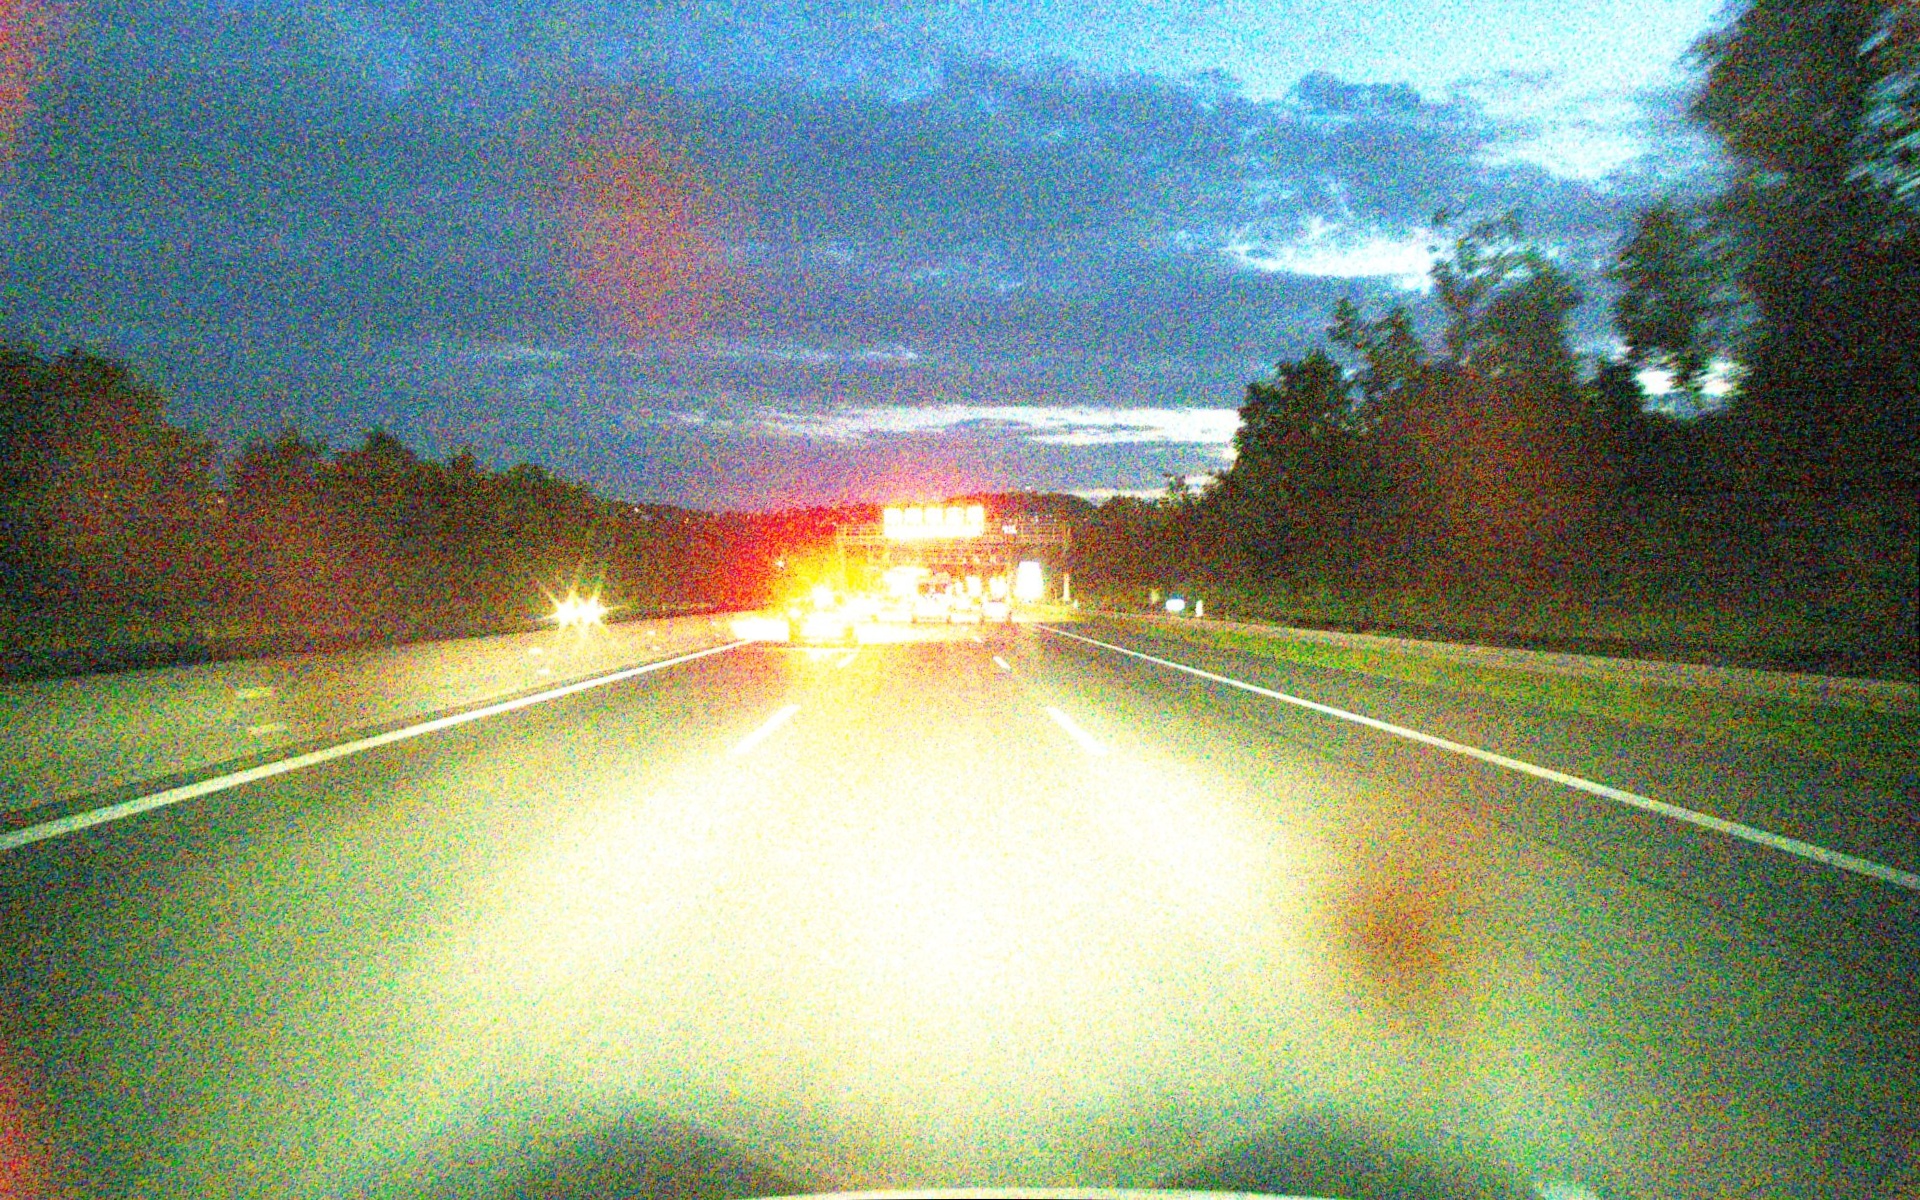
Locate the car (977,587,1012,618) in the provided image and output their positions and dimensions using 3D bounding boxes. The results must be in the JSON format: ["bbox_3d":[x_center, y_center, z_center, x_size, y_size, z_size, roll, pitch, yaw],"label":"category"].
[{"bbox_3d":[1.854,0.141,89.087,1.613,1.624,4.508,1,0,-2],"label":"car"}]

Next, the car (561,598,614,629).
[{"bbox_3d":[-21.051,0.770,93.624,1.865,1.663,5.044,2,-1,-1],"label":"car"}]

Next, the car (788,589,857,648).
[{"bbox_3d":[-3.696,0.455,44.541,1.758,1.494,3.769,1,0,-5],"label":"car"}]

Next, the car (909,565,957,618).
[{"bbox_3d":[-1.338,-0.433,82.964,2.303,2.579,5.700,0,0,-1],"label":"car"}]

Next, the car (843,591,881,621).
[{"bbox_3d":[-4.931,0.290,83.687,1.709,1.465,4.366,0,0,-1],"label":"car"}]

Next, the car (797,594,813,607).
[{"bbox_3d":[-19.951,0.049,212.789,1.865,1.646,4.401,-1,0,-3],"label":"car"}]

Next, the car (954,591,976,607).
[{"bbox_3d":[0.459,-0.099,162.952,2.119,1.591,4.722,0,0,-1],"label":"car"}]
